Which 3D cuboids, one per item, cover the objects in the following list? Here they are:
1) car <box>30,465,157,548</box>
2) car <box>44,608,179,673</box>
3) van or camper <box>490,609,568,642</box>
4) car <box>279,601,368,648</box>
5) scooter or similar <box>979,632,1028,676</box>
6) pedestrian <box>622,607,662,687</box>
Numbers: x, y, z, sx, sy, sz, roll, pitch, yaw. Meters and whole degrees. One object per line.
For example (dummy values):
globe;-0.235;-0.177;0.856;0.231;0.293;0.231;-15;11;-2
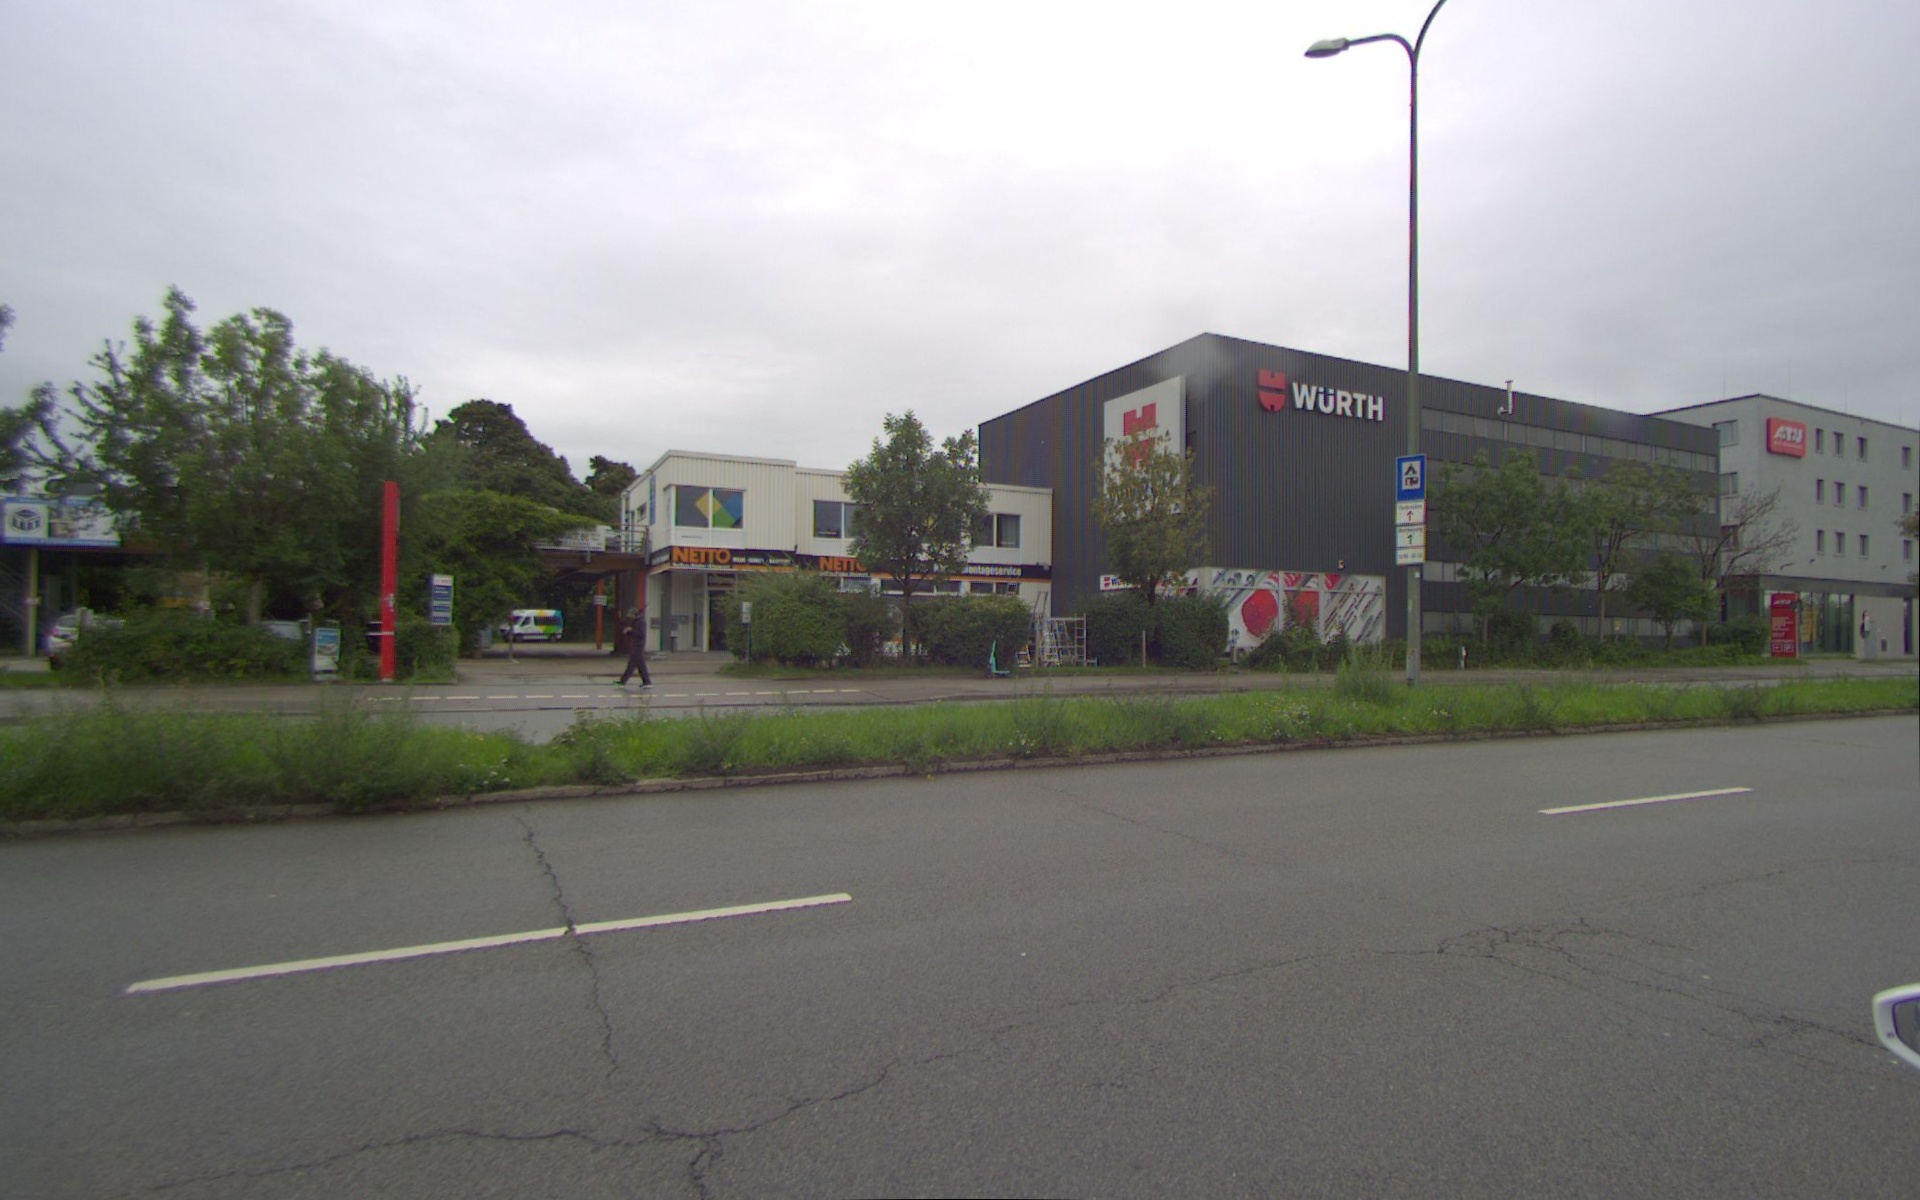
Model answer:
car;-30.798;-3.228;35.887;2.107;2.039;4.769;5;-5;-26
car;-20.549;0.966;24.502;1.849;1.439;3.967;2;-2;-31
van or camper;-34.414;2.084;80.432;1.961;2.488;6.119;0;-3;21
car;-22.382;0.862;35.466;1.835;1.487;3.981;3;-2;-21
scooter or similar;1.259;1.545;28.934;1.370;1.243;0.443;2;-2;-29
pedestrian;-7.478;1.101;23.611;0.807;1.854;0.620;1;-2;-27
